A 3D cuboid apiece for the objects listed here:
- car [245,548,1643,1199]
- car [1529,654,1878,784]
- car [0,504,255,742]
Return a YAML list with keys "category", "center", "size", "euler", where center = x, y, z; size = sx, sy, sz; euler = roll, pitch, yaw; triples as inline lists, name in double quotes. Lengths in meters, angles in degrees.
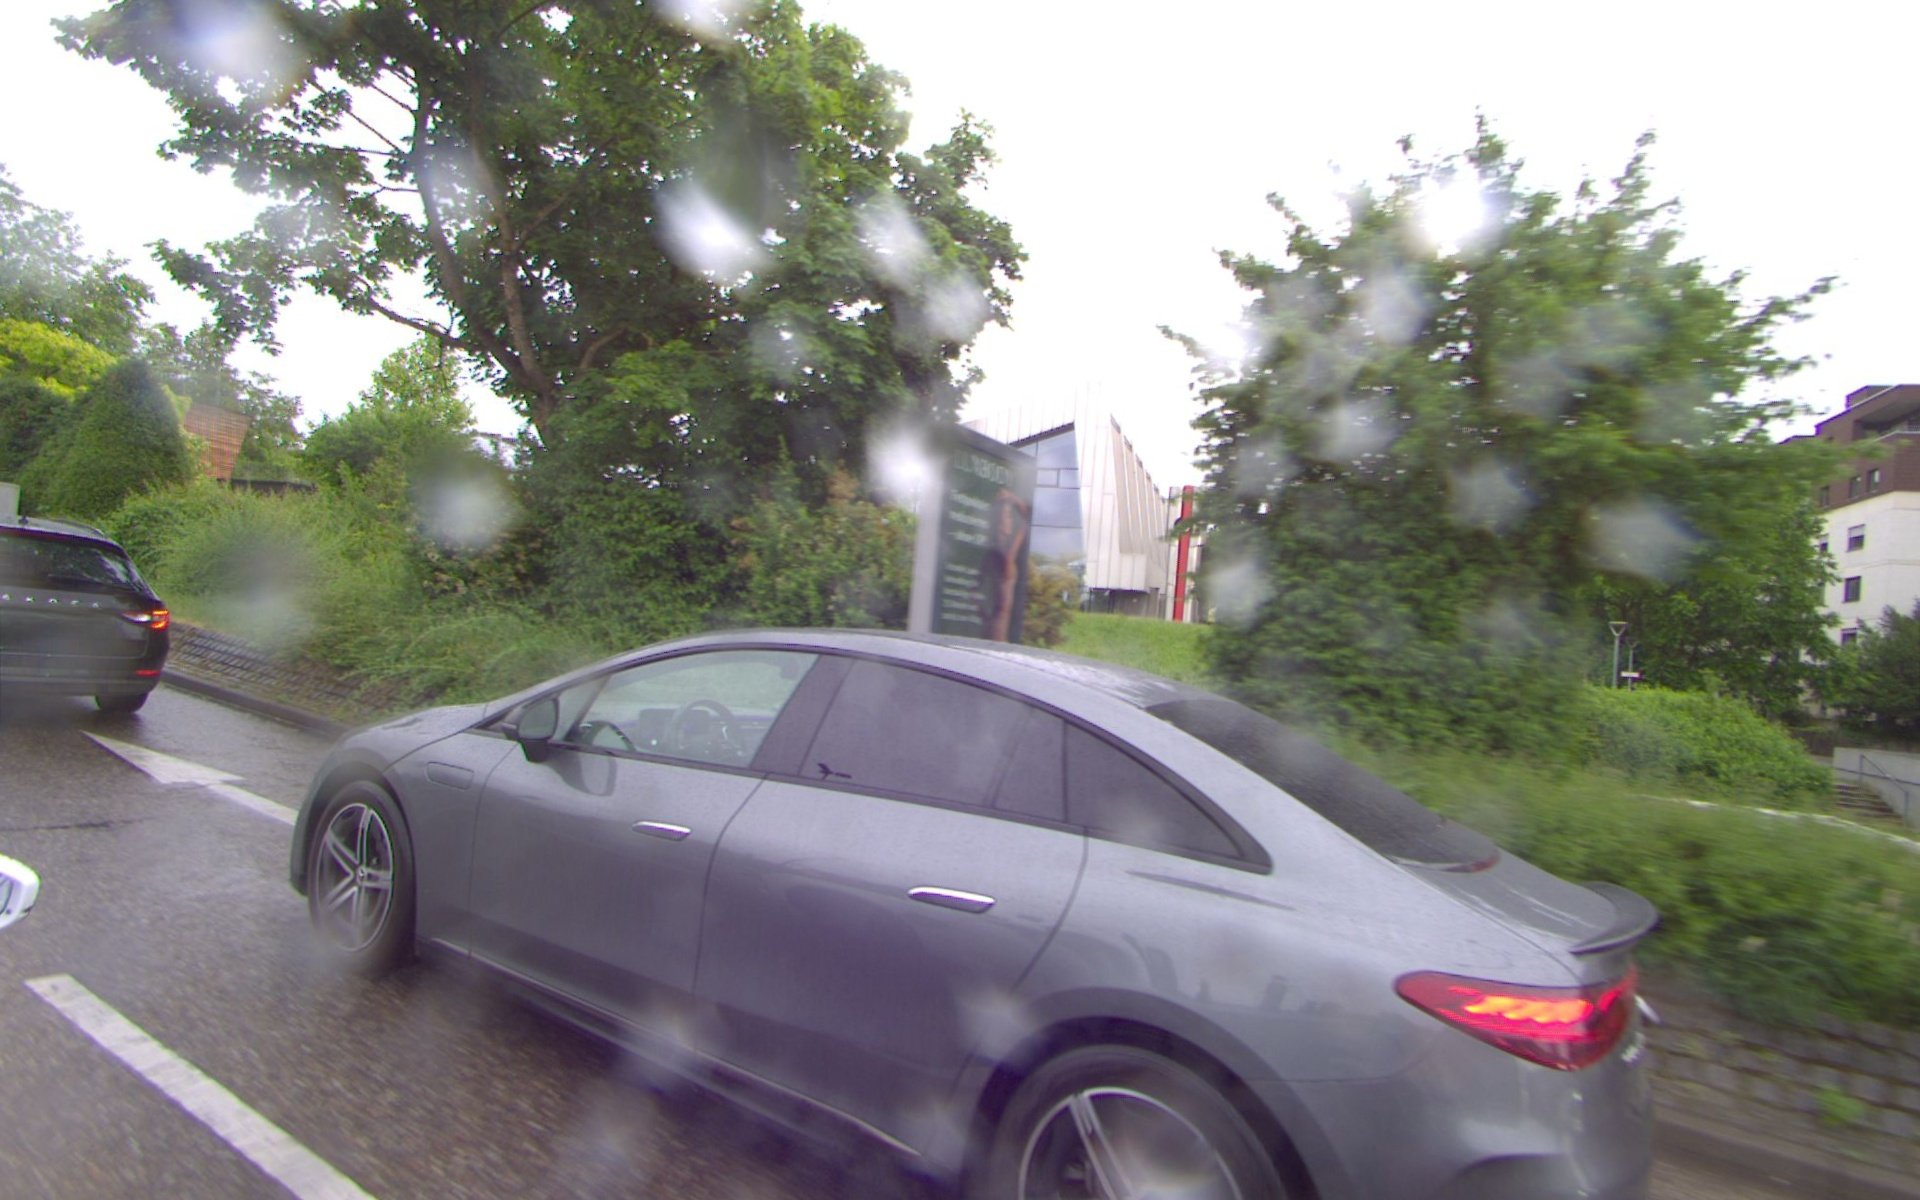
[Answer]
- category: "car"
  center: [-0.388, 0.809, 3.612]
  size: [4.475, 1.460, 1.835]
  euler: [6, -3, 32]
- category: "car"
  center: [19.246, 3.009, 26.528]
  size: [6.637, 2.301, 2.798]
  euler: [6, 1, 11]
- category: "car"
  center: [-7.896, 0.016, 8.104]
  size: [4.534, 1.524, 1.958]
  euler: [6, -4, 33]
